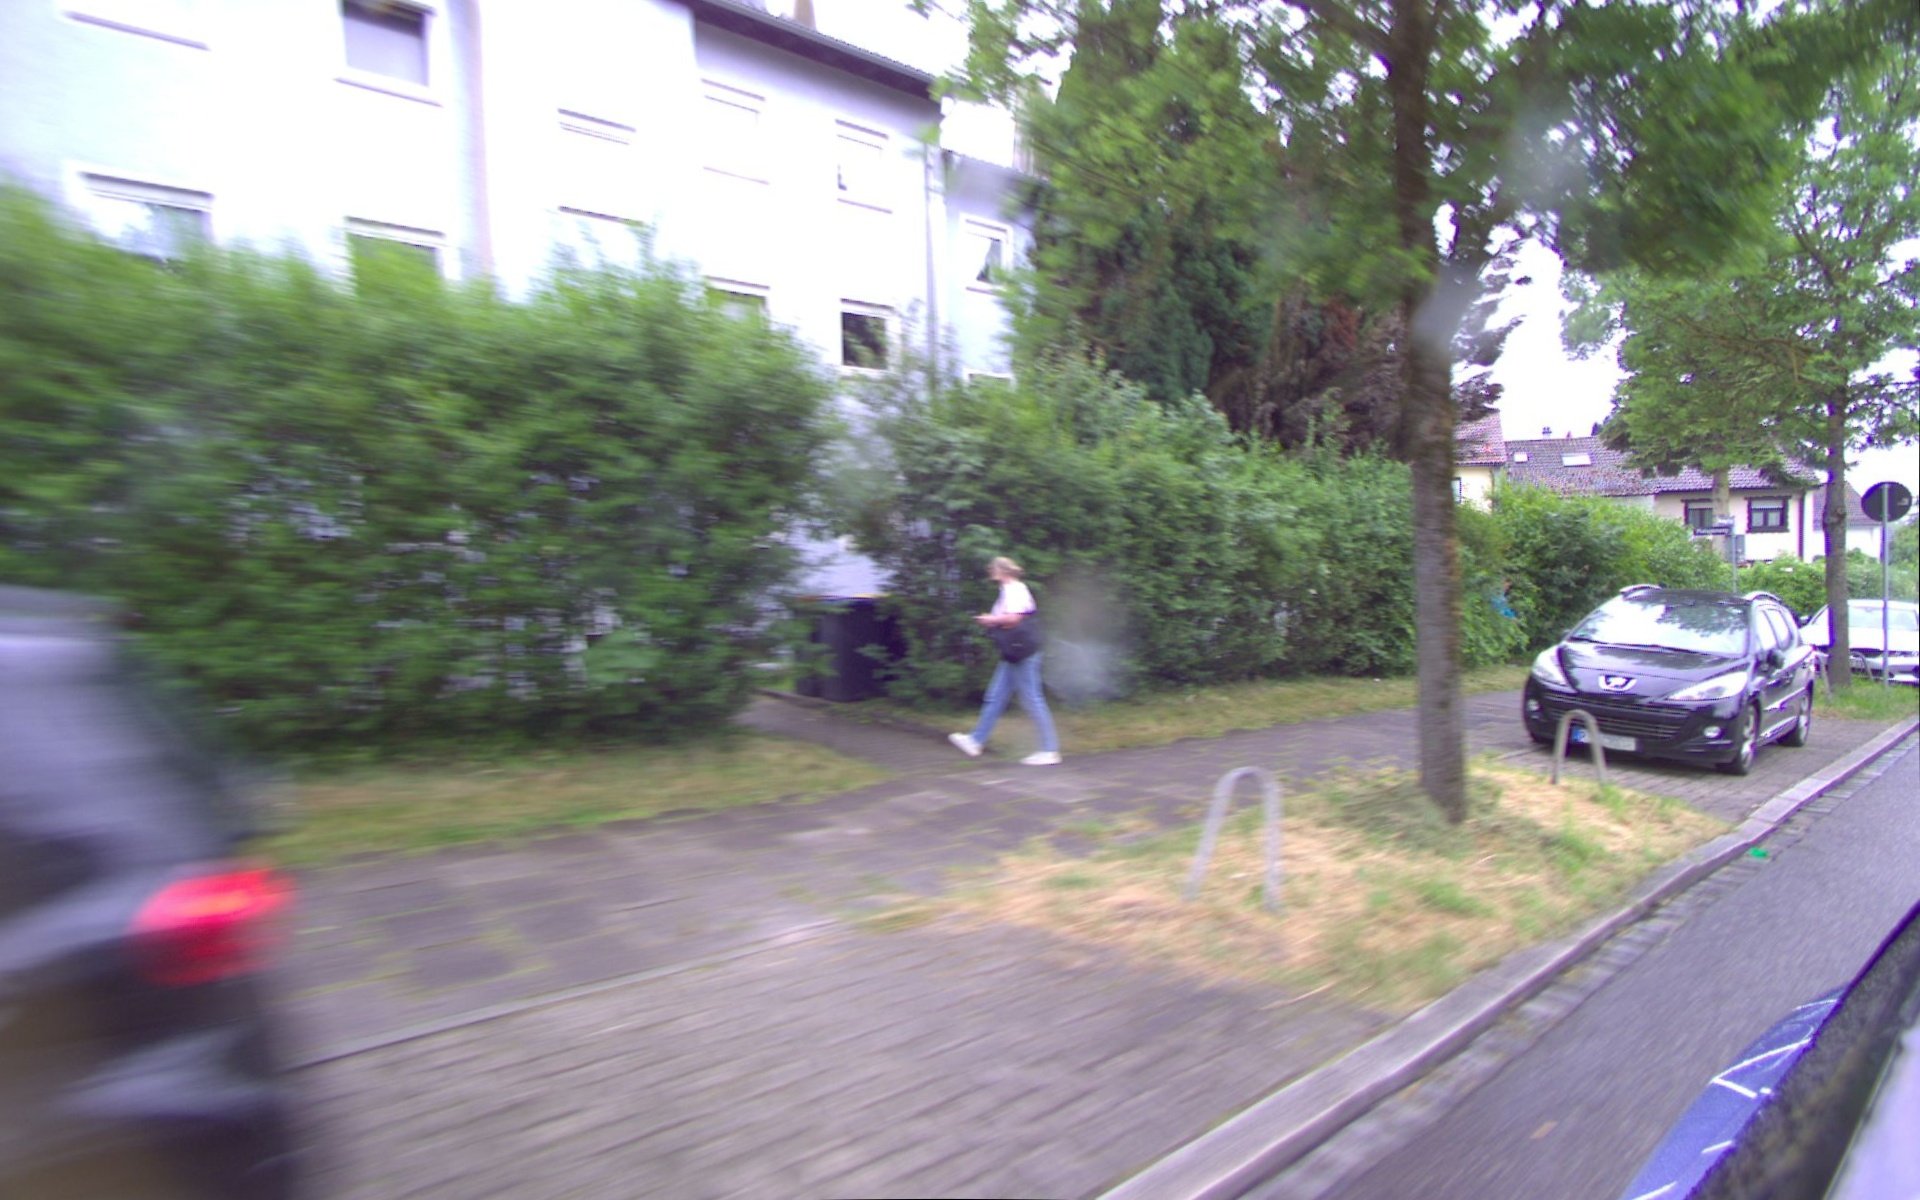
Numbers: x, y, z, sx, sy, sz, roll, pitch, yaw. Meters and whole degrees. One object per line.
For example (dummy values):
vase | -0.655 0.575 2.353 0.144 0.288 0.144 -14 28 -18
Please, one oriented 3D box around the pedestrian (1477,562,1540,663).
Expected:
pedestrian | 9.584 0.204 17.691 0.641 1.700 0.710 0 2 -33

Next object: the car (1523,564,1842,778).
car | 7.057 0.529 9.731 3.945 1.615 1.644 0 2 -42

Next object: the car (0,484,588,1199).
car | -2.661 0.566 1.297 3.721 1.530 1.725 0 2 -42

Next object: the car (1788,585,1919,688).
car | 16.147 0.570 17.695 4.511 1.541 1.802 0 2 -41

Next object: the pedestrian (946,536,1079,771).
pedestrian | 0.422 0.374 7.804 0.881 1.700 0.716 2 2 13
